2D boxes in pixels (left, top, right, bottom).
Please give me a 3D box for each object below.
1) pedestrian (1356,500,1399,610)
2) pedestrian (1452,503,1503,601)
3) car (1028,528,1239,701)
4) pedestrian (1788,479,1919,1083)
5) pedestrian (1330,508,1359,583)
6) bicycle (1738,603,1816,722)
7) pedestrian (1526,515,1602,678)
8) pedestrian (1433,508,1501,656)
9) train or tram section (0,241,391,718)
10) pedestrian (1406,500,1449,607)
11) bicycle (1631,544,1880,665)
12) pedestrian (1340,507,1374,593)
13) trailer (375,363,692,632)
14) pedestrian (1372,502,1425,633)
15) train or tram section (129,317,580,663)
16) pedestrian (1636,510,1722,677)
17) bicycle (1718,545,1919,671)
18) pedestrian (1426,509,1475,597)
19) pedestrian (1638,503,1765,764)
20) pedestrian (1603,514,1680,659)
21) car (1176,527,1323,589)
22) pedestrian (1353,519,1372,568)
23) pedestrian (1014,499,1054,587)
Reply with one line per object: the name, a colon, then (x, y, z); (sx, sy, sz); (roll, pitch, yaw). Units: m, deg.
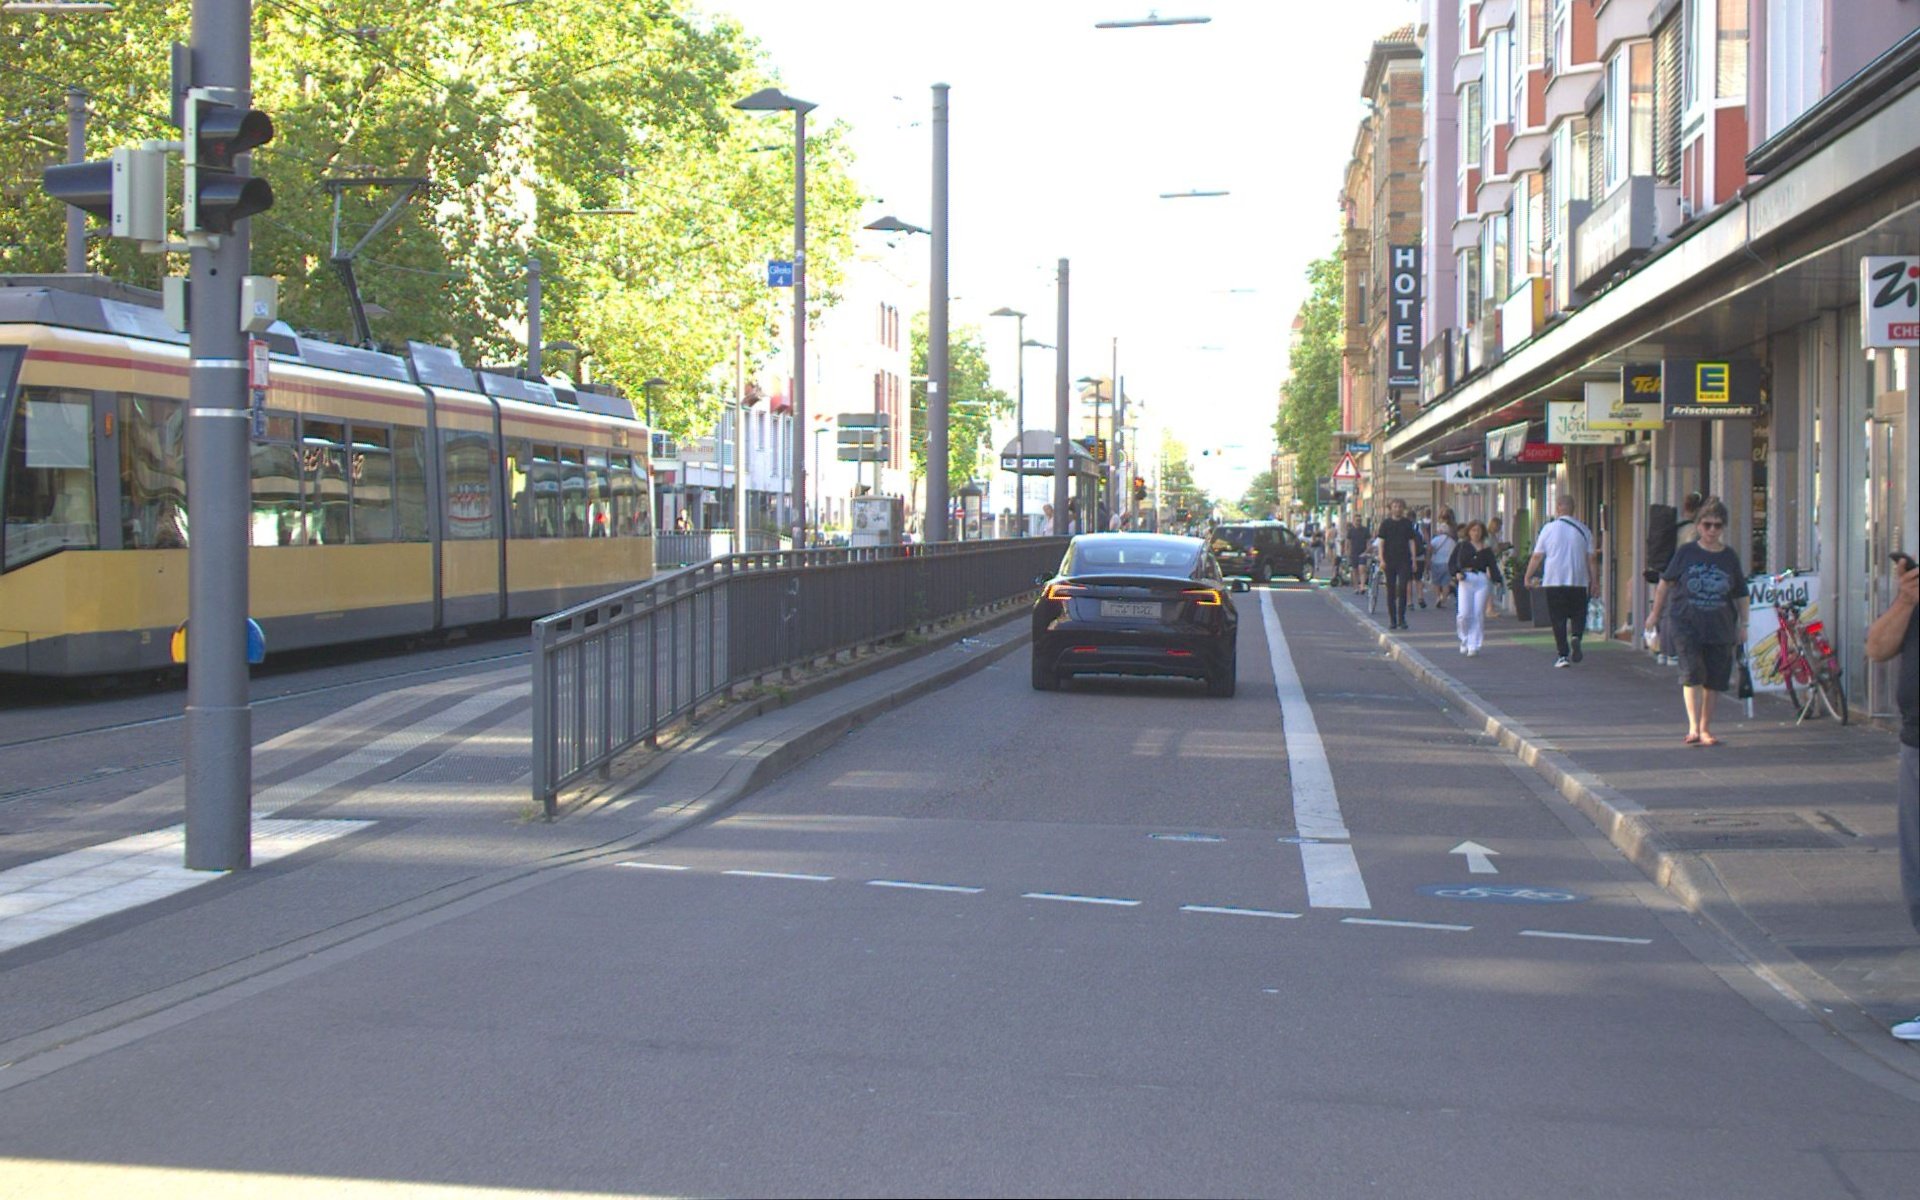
pedestrian: (7.290, -0.791, 60.017); (0.697, 1.890, 0.750); (1, 1, 5)
pedestrian: (9.339, -0.866, 62.052); (0.842, 1.750, 0.787); (1, 1, 6)
car: (1.617, 0.093, 32.011); (1.790, 1.446, 3.939); (2, 1, 3)
pedestrian: (2.990, 0.528, 10.581); (0.626, 1.776, 0.918); (1, 1, 0)
pedestrian: (9.849, -1.391, 88.018); (0.697, 1.890, 0.750); (1, 1, 5)
bicycle: (6.244, 0.467, 26.299); (0.414, 0.854, 1.237); (1, 1, 7)
pedestrian: (6.282, -0.046, 35.781); (0.697, 1.672, 0.750); (1, 1, 5)
pedestrian: (5.807, -0.212, 39.400); (0.697, 1.672, 0.750); (1, 1, 5)
train or tram section: (-7.706, -1.014, 30.579); (2.729, 3.530, 10.085); (1, 1, 5)
pedestrian: (8.357, -0.826, 61.494); (0.697, 1.890, 0.750); (1, 1, 5)
bicycle: (8.402, 0.042, 36.374); (2.428, 1.213, 0.829); (1, 1, 3)
pedestrian: (8.854, -1.115, 76.714); (0.697, 1.890, 0.750); (1, 1, 5)
trailer: (-6.042, -1.456, 50.380); (2.714, 3.534, 9.357); (1, 1, 5)
pedestrian: (6.414, -0.482, 50.319); (0.697, 1.890, 0.750); (1, 1, 5)
train or tram section: (-6.837, -1.244, 40.661); (2.714, 3.534, 10.167); (1, 1, 5)
pedestrian: (7.293, -0.074, 34.905); (0.747, 1.672, 0.699); (1, 1, 6)
bicycle: (8.912, 0.078, 34.476); (2.428, 1.213, 0.796); (1, 1, 3)
pedestrian: (9.040, -0.873, 63.386); (0.842, 1.601, 0.787); (1, 1, 6)
pedestrian: (4.865, 0.206, 22.579); (0.697, 1.672, 0.750); (1, 1, 5)
pedestrian: (7.872, -0.166, 39.744); (0.737, 1.647, 0.718); (1, 1, 3)
car: (8.094, -1.186, 96.156); (3.695, 1.659, 1.743); (1, 1, -13)
pedestrian: (15.377, -2.160, 131.345); (0.697, 1.872, 0.749); (1, 1, 6)
pedestrian: (1.494, -1.150, 69.158); (0.757, 1.763, 0.699); (1, 1, 4)
